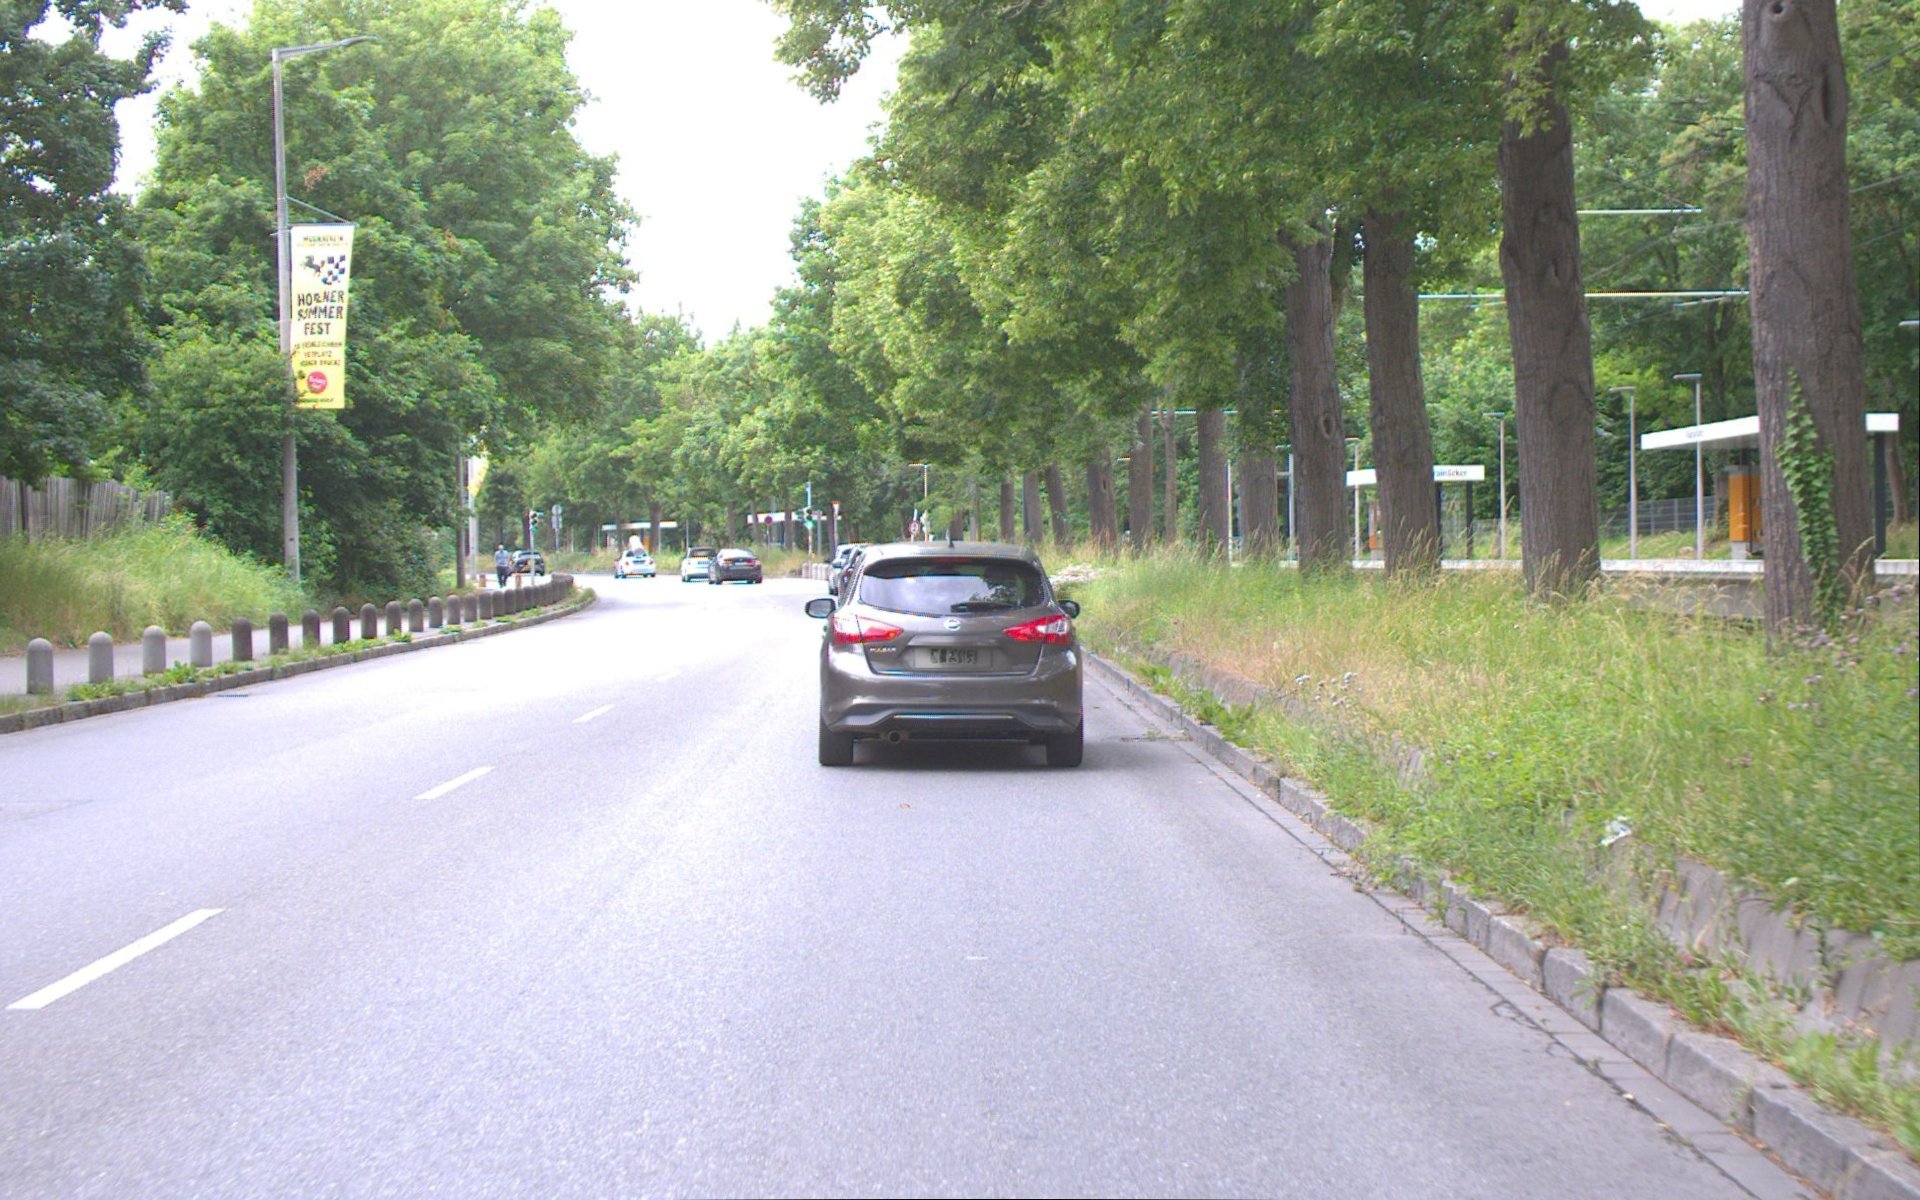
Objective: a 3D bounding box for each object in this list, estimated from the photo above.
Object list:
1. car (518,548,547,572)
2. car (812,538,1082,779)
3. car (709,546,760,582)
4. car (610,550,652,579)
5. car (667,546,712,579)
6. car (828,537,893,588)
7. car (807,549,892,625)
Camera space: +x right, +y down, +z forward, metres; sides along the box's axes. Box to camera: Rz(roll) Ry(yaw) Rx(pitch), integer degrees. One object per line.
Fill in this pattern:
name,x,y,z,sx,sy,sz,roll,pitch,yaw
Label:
car,-26.089,-2.441,209.788,1.561,1.436,3.553,0,1,-11
car,-0.130,0.347,23.931,1.730,1.532,3.552,1,1,-1
car,-9.136,-1.459,138.919,1.561,1.436,3.553,0,1,-12
car,-16.889,-1.824,176.303,1.561,1.436,3.553,0,1,-15
car,-12.129,-1.672,154.065,1.561,1.436,3.553,0,1,-12
car,-2.901,-1.097,99.667,1.561,1.436,3.552,0,1,-7
car,-2.312,-0.297,72.184,1.730,1.532,3.552,1,1,-1
